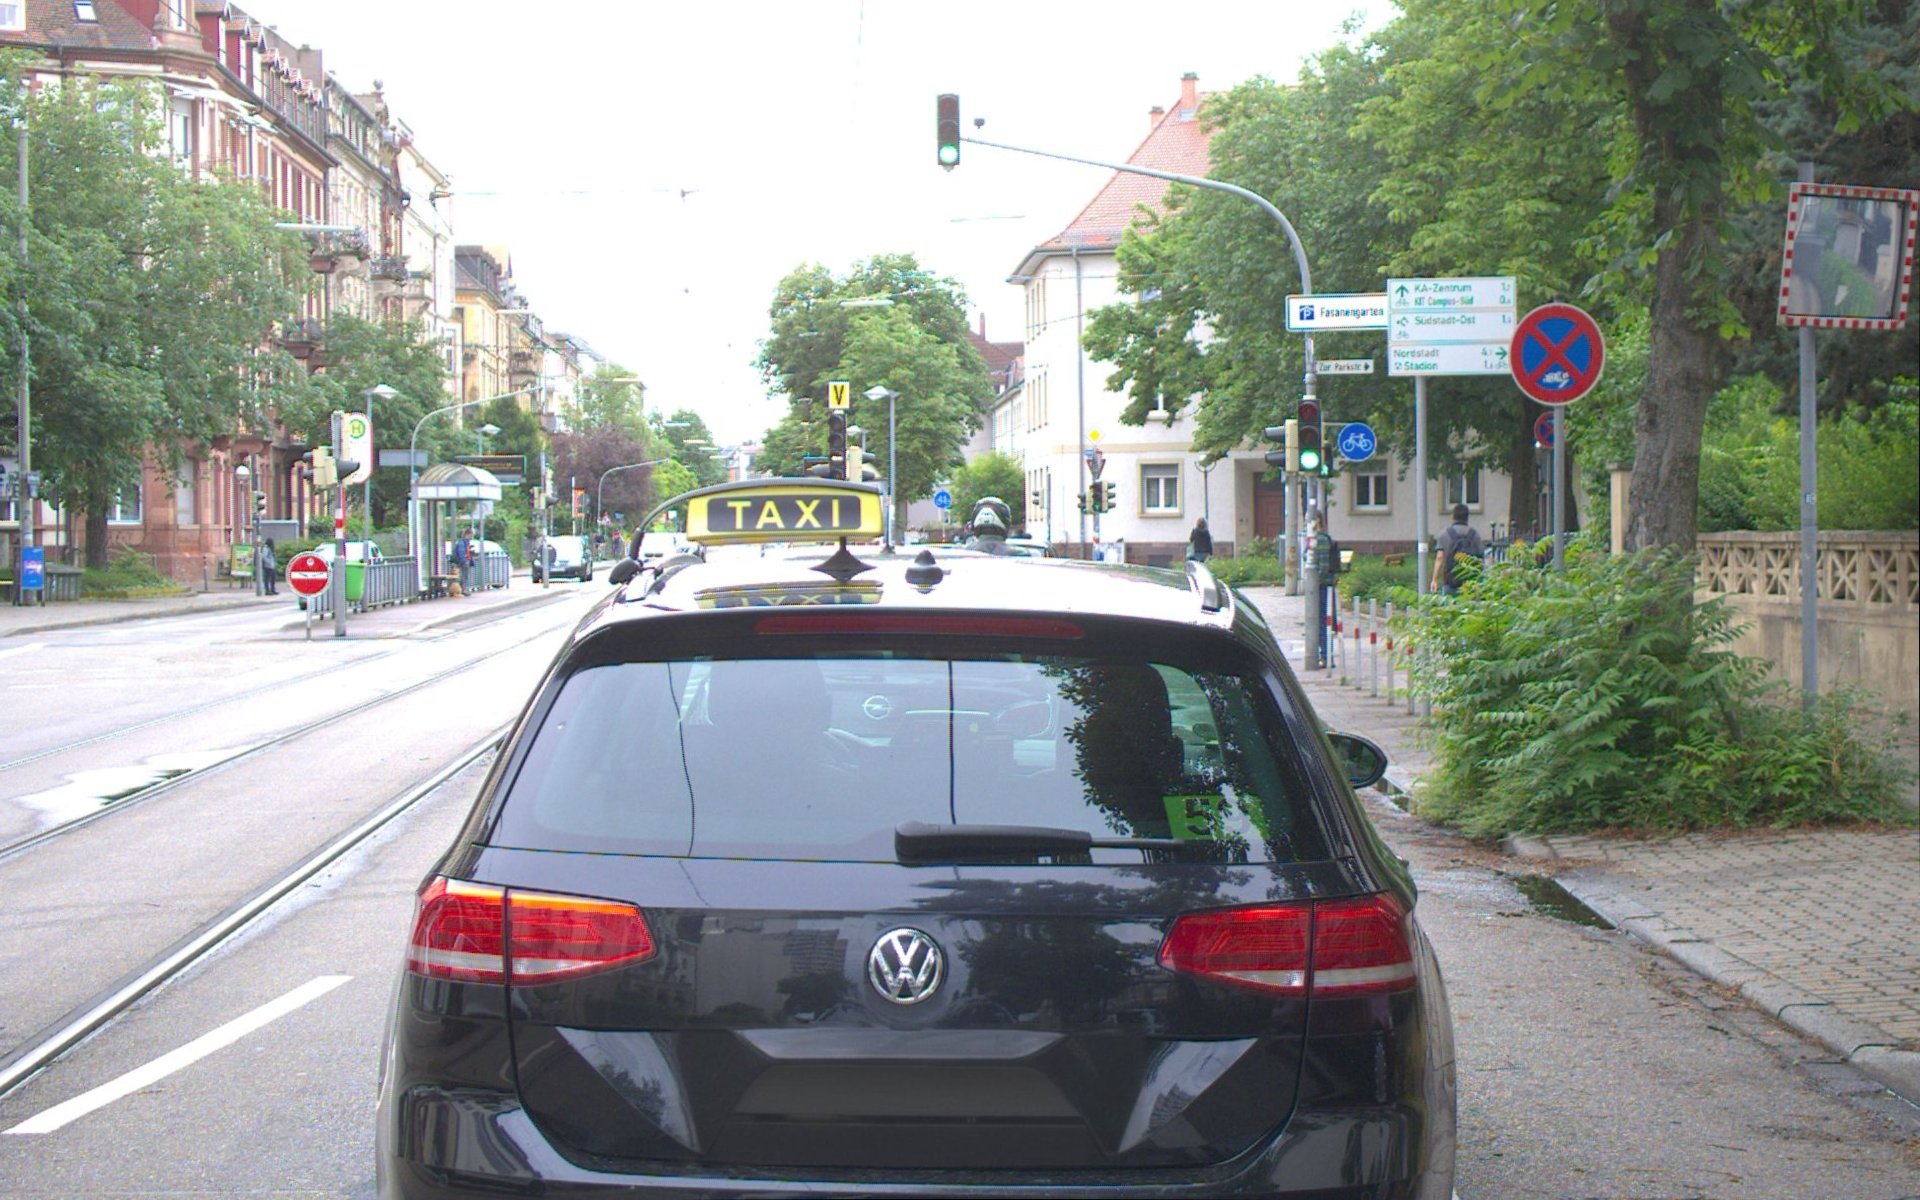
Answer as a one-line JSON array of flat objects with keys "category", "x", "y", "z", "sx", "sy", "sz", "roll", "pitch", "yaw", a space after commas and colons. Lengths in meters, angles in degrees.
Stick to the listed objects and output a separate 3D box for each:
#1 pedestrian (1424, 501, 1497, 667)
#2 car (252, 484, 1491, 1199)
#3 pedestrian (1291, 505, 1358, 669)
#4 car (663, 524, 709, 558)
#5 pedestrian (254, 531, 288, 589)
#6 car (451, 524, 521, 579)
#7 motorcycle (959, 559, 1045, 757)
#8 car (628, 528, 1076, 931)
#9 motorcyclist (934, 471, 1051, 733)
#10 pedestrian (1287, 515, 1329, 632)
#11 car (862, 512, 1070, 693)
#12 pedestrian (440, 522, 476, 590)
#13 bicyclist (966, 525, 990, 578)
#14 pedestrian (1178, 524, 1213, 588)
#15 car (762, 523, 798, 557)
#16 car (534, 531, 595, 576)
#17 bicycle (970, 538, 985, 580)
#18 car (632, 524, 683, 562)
[{"category": "pedestrian", "x": 5.539, "y": -0.182, "z": 38.063, "sx": 0.632, "sy": 1.808, "sz": 0.726, "roll": -1, "pitch": 1, "yaw": -5}, {"category": "car", "x": -0.199, "y": 0.564, "z": 6.797, "sx": 1.723, "sy": 1.541, "sz": 4.001, "roll": 0, "pitch": 1, "yaw": -2}, {"category": "pedestrian", "x": 4.163, "y": -0.156, "z": 39.334, "sx": 0.585, "sy": 1.824, "sz": 0.604, "roll": -4, "pitch": 1, "yaw": -1}, {"category": "car", "x": -13.035, "y": -2.816, "z": 163.767, "sx": 1.795, "sy": 1.590, "sz": 4.000, "roll": -1, "pitch": 1, "yaw": 0}, {"category": "pedestrian", "x": -18.296, "y": -1.067, "z": 91.330, "sx": 0.589, "sy": 1.515, "sz": 0.648, "roll": 0, "pitch": 1, "yaw": 33}, {"category": "car", "x": -14.377, "y": -1.483, "z": 104.431, "sx": 1.721, "sy": 1.617, "sz": 3.864, "roll": -1, "pitch": 1, "yaw": -3}, {"category": "motorcycle", "x": 0.290, "y": 0.358, "z": 22.739, "sx": 0.446, "sy": 1.231, "sz": 1.906, "roll": -1, "pitch": 1, "yaw": 4}, {"category": "car", "x": -0.494, "y": 0.456, "z": 15.230, "sx": 1.723, "sy": 1.541, "sz": 4.001, "roll": 0, "pitch": 1, "yaw": -2}, {"category": "motorcyclist", "x": 0.221, "y": 0.005, "z": 22.622, "sx": 0.703, "sy": 1.686, "sz": 0.804, "roll": -1, "pitch": 1, "yaw": 4}, {"category": "pedestrian", "x": 5.527, "y": -0.429, "z": 54.667, "sx": 0.514, "sy": 1.824, "sz": 0.418, "roll": -4, "pitch": 1, "yaw": -1}, {"category": "car", "x": -0.005, "y": -0.021, "z": 31.372, "sx": 1.723, "sy": 1.541, "sz": 4.001, "roll": 0, "pitch": 1, "yaw": -2}, {"category": "pedestrian", "x": -11.323, "y": -0.996, "z": 77.613, "sx": 0.714, "sy": 1.515, "sz": 0.590, "roll": -1, "pitch": 1, "yaw": -1}, {"category": "bicyclist", "x": 0.528, "y": -1.440, "z": 101.885, "sx": 0.651, "sy": 1.563, "sz": 0.695, "roll": -1, "pitch": 1, "yaw": 5}, {"category": "pedestrian", "x": 5.677, "y": -1.063, "z": 82.808, "sx": 0.608, "sy": 1.548, "sz": 0.583, "roll": -1, "pitch": 1, "yaw": -41}, {"category": "car", "x": -10.655, "y": -3.539, "z": 203.719, "sx": 2.032, "sy": 2.007, "sz": 4.000, "roll": 1, "pitch": 1, "yaw": -2}, {"category": "car", "x": -13.050, "y": -1.552, "z": 113.624, "sx": 1.721, "sy": 1.460, "sz": 3.864, "roll": -1, "pitch": 1, "yaw": -3}, {"category": "bicycle", "x": 0.514, "y": -1.208, "z": 101.837, "sx": 0.297, "sy": 1.219, "sz": 1.430, "roll": -1, "pitch": 1, "yaw": 5}, {"category": "car", "x": -12.985, "y": -2.465, "z": 147.937, "sx": 1.795, "sy": 1.590, "sz": 4.000, "roll": -1, "pitch": 1, "yaw": 0}]
